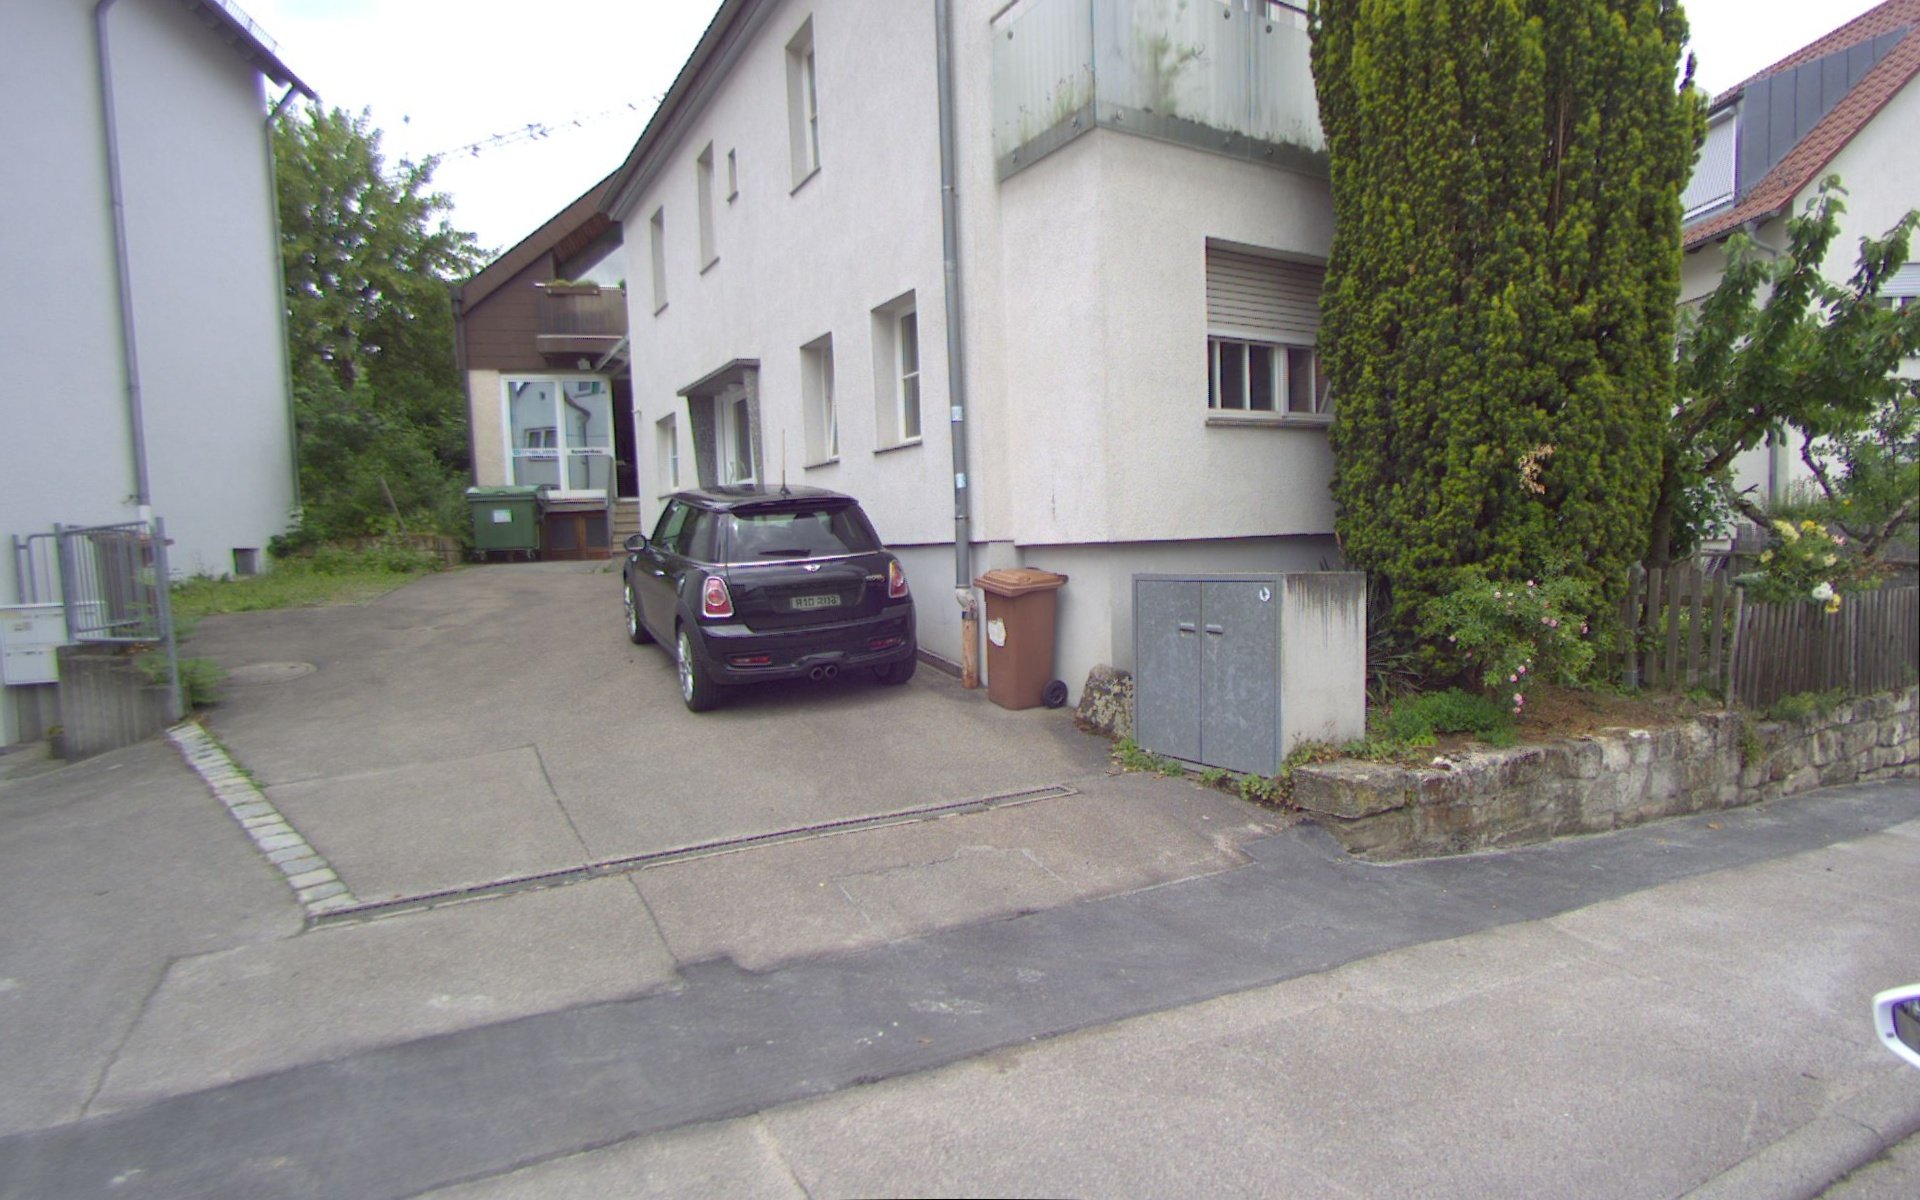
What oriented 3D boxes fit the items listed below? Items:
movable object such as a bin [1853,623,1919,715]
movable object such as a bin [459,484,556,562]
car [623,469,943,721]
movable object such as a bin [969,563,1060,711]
[{"bbox_3d":[10.661,0.770,11.326,0.591,0.945,0.591,-1,6,1],"label":"movable object such as a bin"},{"bbox_3d":[-8.596,-1.483,19.181,1.415,1.419,1.446,-2,5,-15],"label":"movable object such as a bin"},{"bbox_3d":[-1.603,-0.260,8.184,1.604,1.490,3.386,-4,10,-27],"label":"car"},{"bbox_3d":[0.375,0.244,7.039,0.426,0.915,0.510,-6,12,-29],"label":"movable object such as a bin"}]
